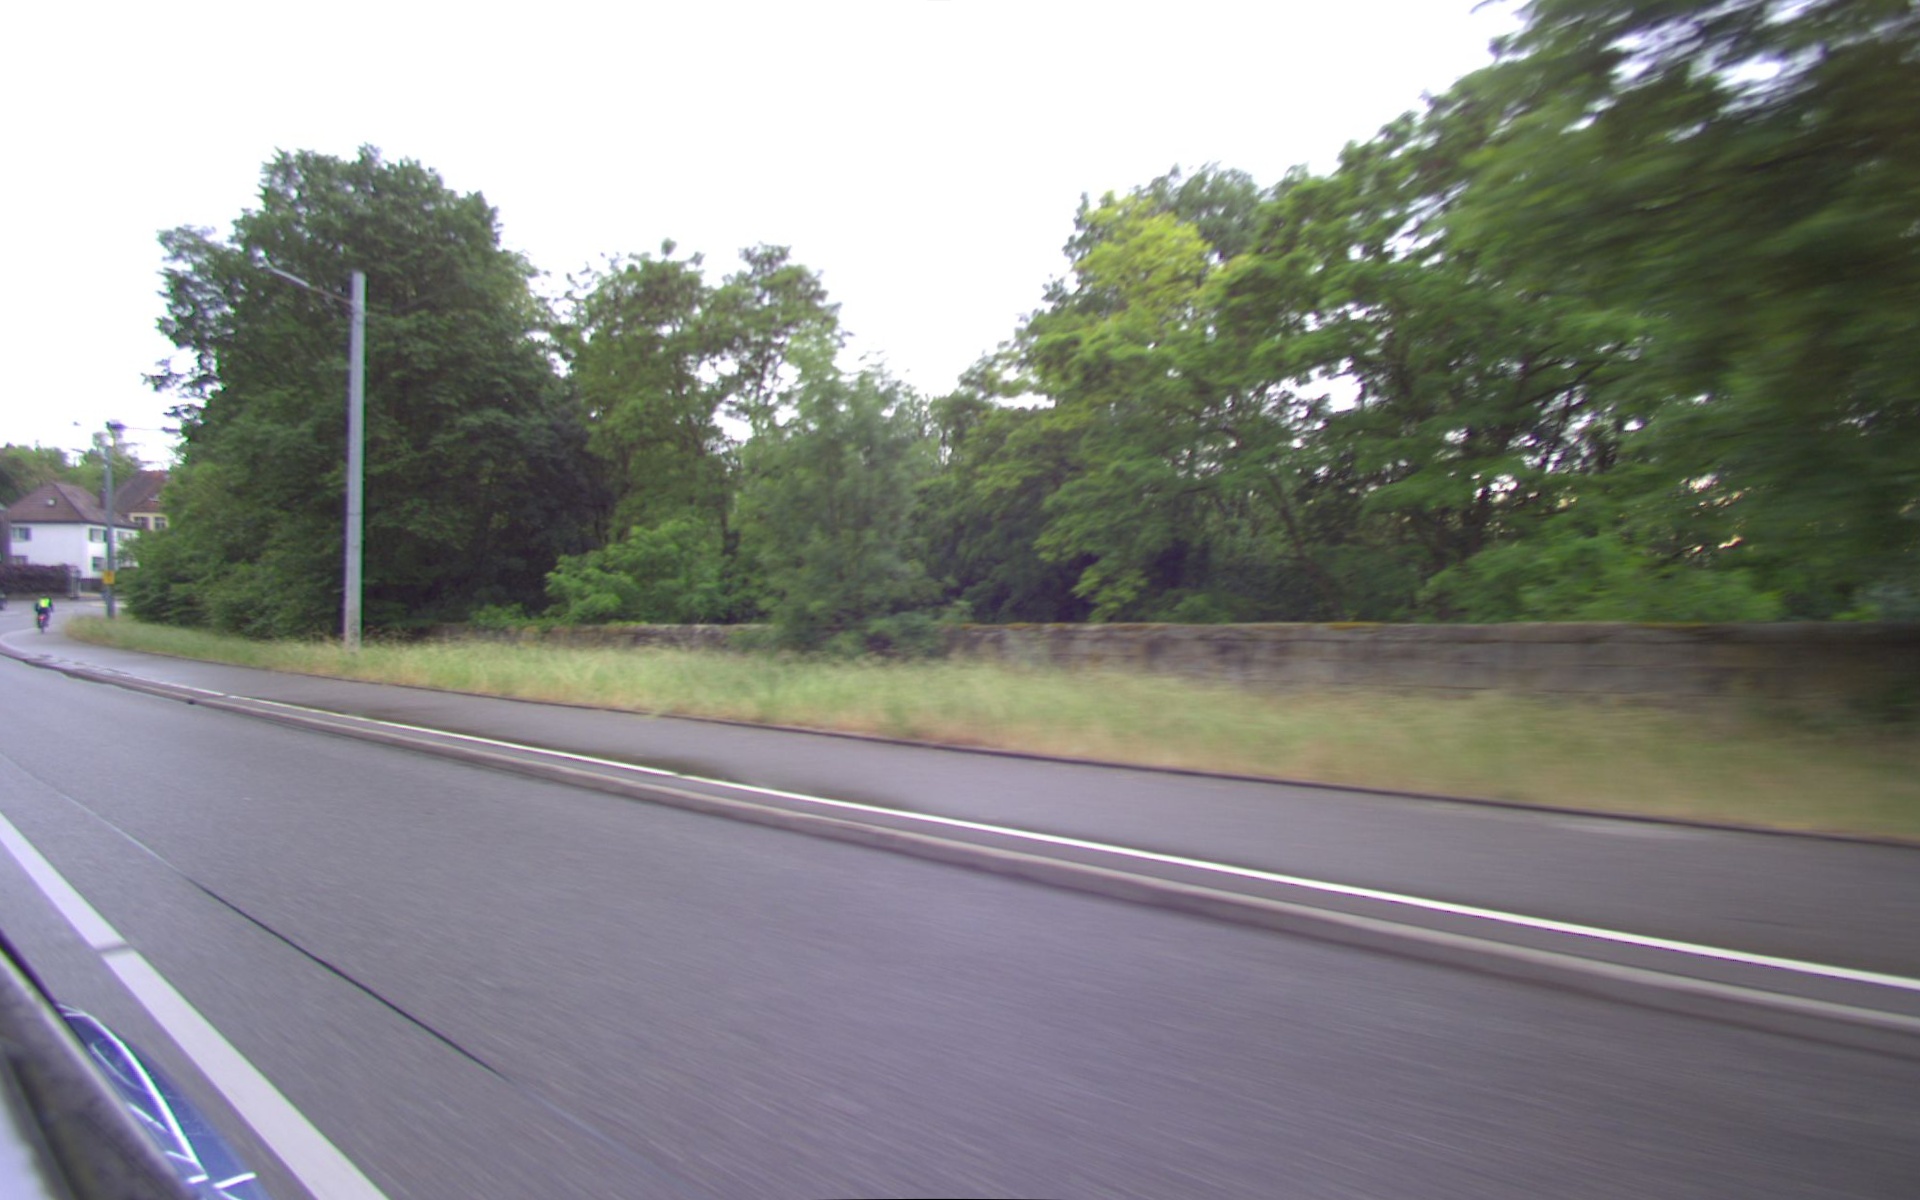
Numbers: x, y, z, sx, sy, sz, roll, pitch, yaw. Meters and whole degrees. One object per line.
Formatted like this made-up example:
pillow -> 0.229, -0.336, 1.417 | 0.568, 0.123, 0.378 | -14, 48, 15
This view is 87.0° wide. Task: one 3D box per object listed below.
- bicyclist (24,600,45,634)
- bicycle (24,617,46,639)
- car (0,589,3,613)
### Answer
bicyclist -> -44.506, 0.809, 48.662 | 0.700, 1.567, 1.172 | -2, 1, -43
bicycle -> -44.481, 1.334, 48.659 | 0.715, 0.949, 2.554 | -2, 1, -41
car -> -68.660, 0.041, 70.506 | 1.966, 1.730, 4.012 | 4, -1, -31
